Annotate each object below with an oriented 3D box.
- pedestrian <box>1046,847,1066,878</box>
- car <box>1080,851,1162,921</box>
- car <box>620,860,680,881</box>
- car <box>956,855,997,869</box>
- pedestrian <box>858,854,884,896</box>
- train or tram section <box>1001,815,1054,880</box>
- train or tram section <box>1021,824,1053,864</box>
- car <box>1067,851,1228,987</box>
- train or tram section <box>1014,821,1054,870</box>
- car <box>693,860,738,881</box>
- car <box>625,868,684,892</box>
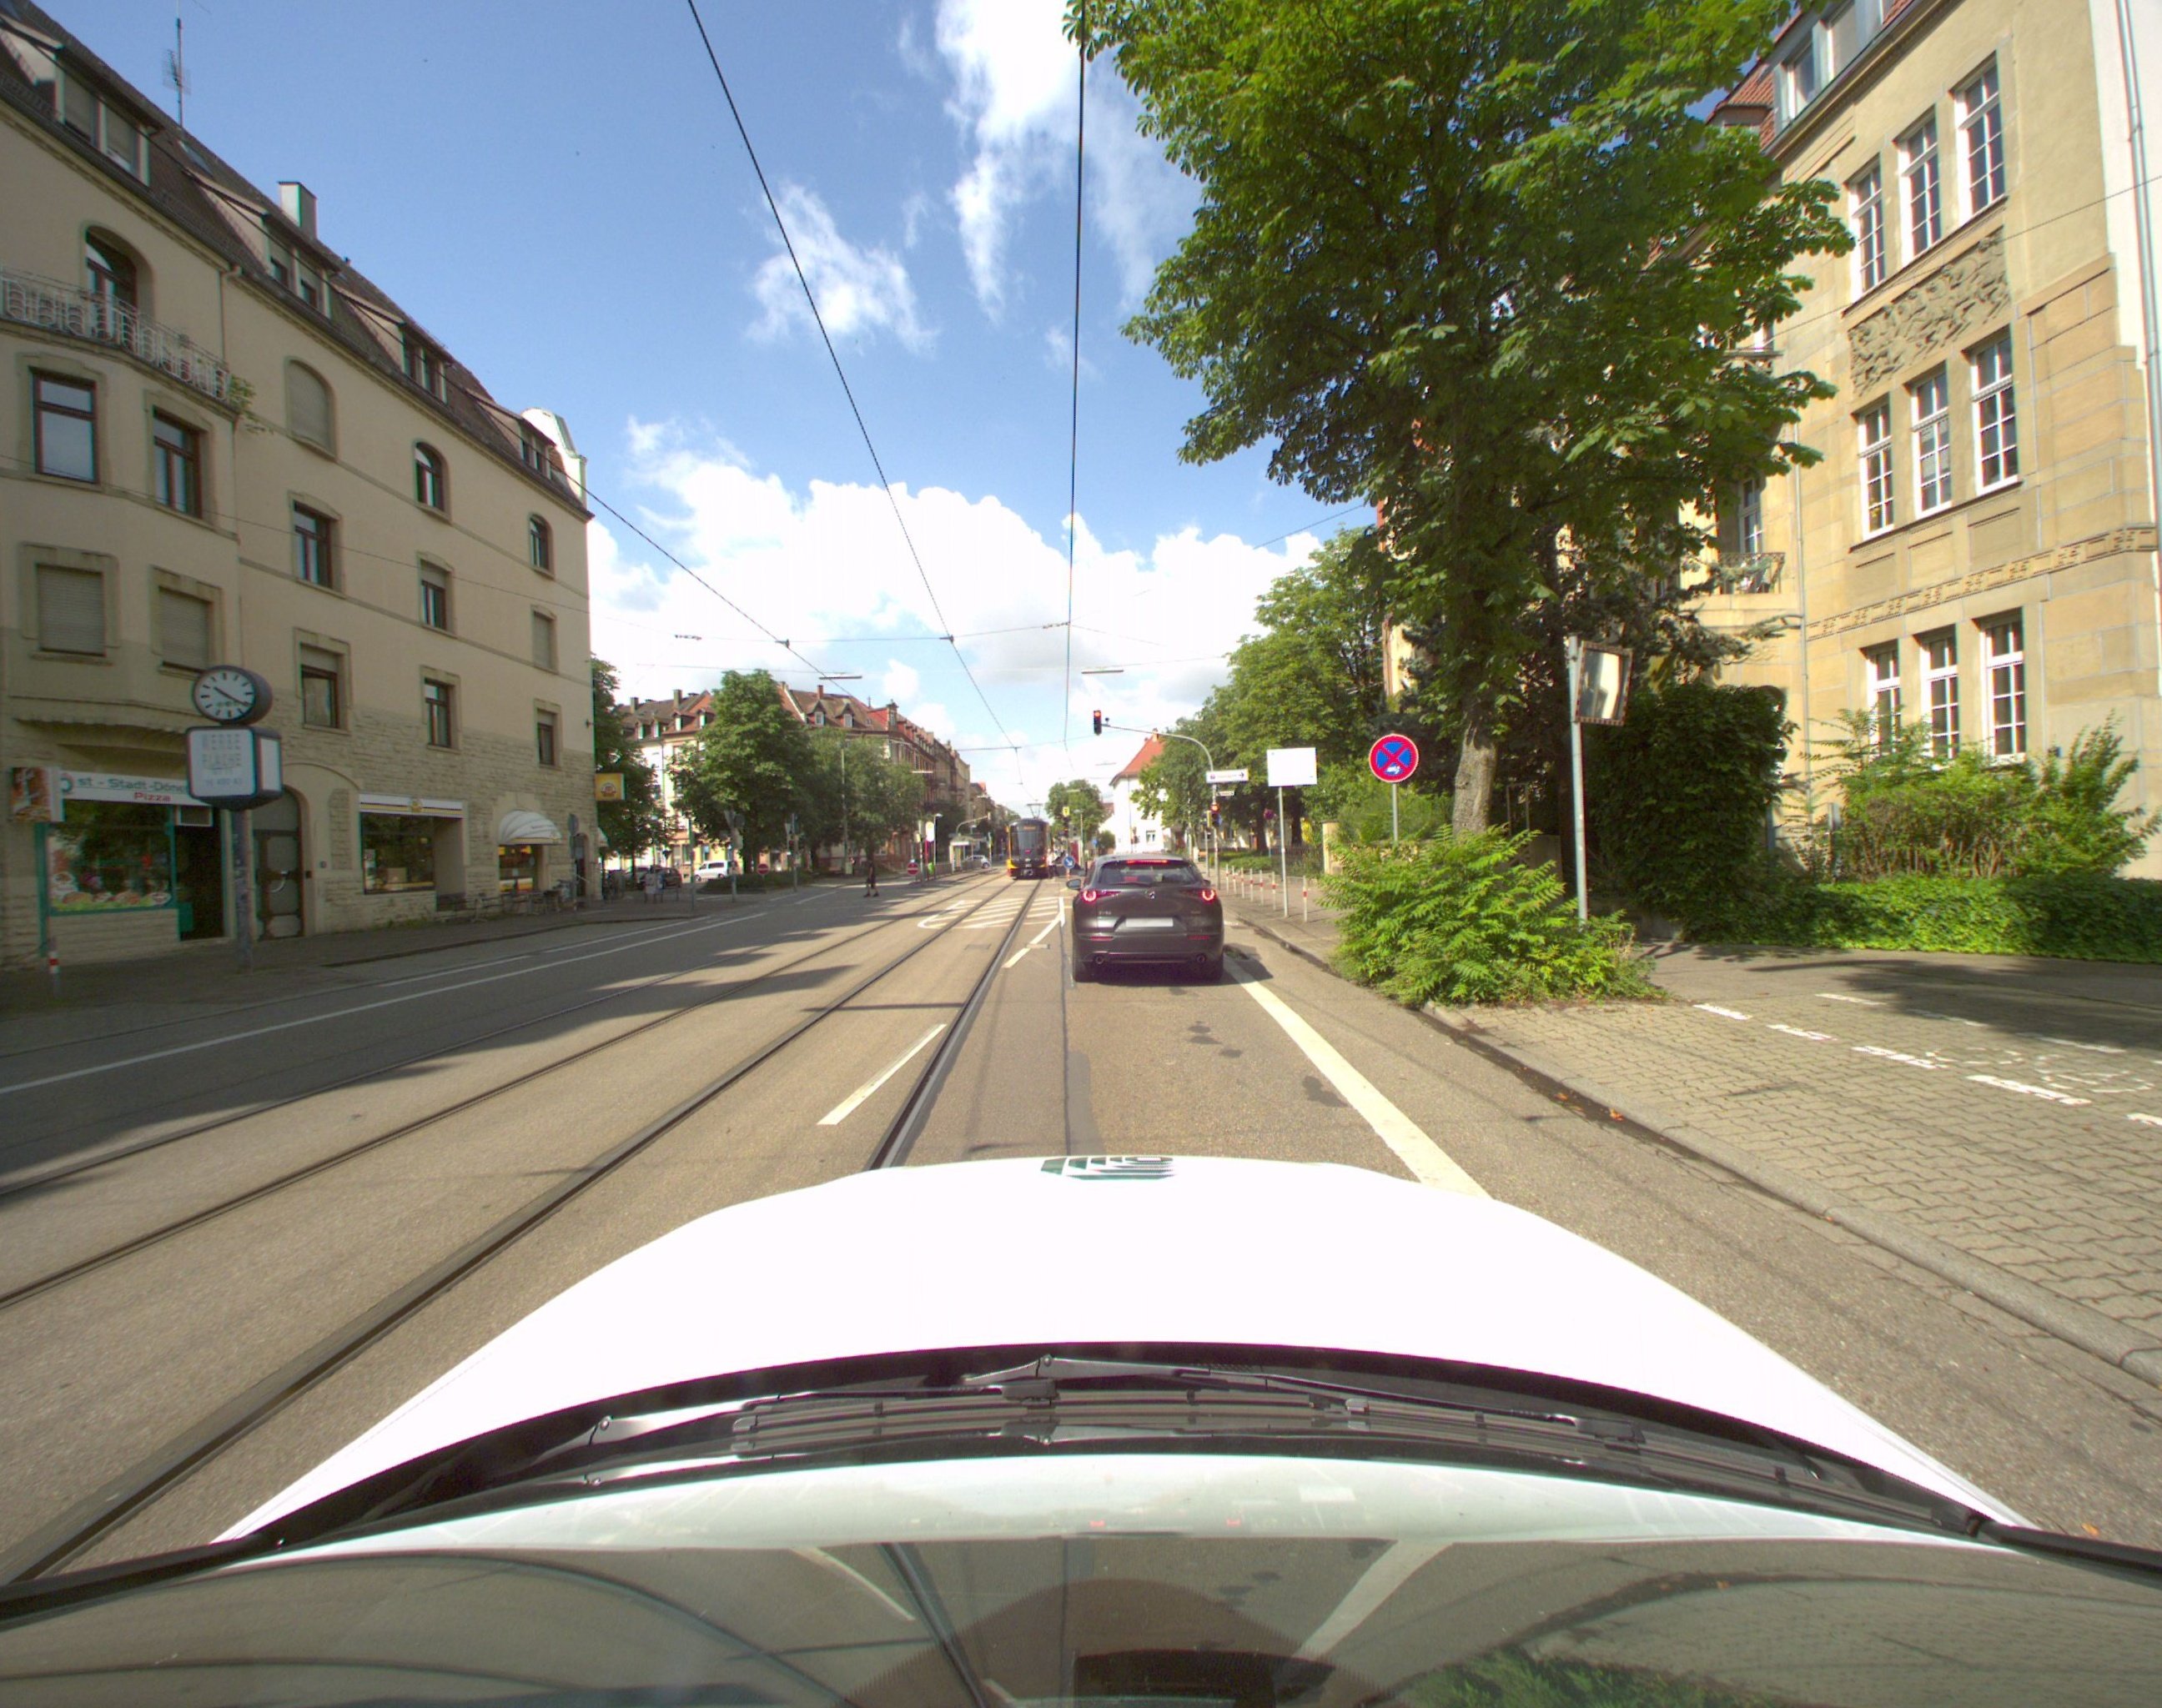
[{"bbox_3d":[-1.366,0.466,44.764,0.722,1.705,0.815,-2,0,-32],"label":"pedestrian"},{"bbox_3d":[0.917,0.691,19.644,1.772,1.499,4.001,0,0,1],"label":"car"},{"bbox_3d":[-36.791,1.409,69.568,3.971,1.596,2.001,-2,0,2],"label":"car"},{"bbox_3d":[-11.147,0.835,87.100,4.004,1.360,1.665,-2,0,-23],"label":"car"},{"bbox_3d":[-8.645,0.869,33.516,0.746,1.684,0.702,-2,0,11],"label":"pedestrian"},{"bbox_3d":[-3.203,-0.494,51.945,2.745,3.490,14.397,-2,1,-2],"label":"train or tram section"},{"bbox_3d":[-4.192,-1.009,80.694,2.745,3.490,14.397,-2,1,-2],"label":"train or tram section"},{"bbox_3d":[0.792,0.709,11.033,1.772,1.499,4.001,0,0,1],"label":"car"},{"bbox_3d":[-3.688,-0.750,66.325,2.745,3.490,14.397,-2,1,-2],"label":"train or tram section"},{"bbox_3d":[-36.620,1.677,81.556,3.950,1.903,2.012,-2,0,26],"label":"car"},{"bbox_3d":[-30.809,1.857,58.970,1.746,1.518,4.077,-2,0,7],"label":"car"}]
